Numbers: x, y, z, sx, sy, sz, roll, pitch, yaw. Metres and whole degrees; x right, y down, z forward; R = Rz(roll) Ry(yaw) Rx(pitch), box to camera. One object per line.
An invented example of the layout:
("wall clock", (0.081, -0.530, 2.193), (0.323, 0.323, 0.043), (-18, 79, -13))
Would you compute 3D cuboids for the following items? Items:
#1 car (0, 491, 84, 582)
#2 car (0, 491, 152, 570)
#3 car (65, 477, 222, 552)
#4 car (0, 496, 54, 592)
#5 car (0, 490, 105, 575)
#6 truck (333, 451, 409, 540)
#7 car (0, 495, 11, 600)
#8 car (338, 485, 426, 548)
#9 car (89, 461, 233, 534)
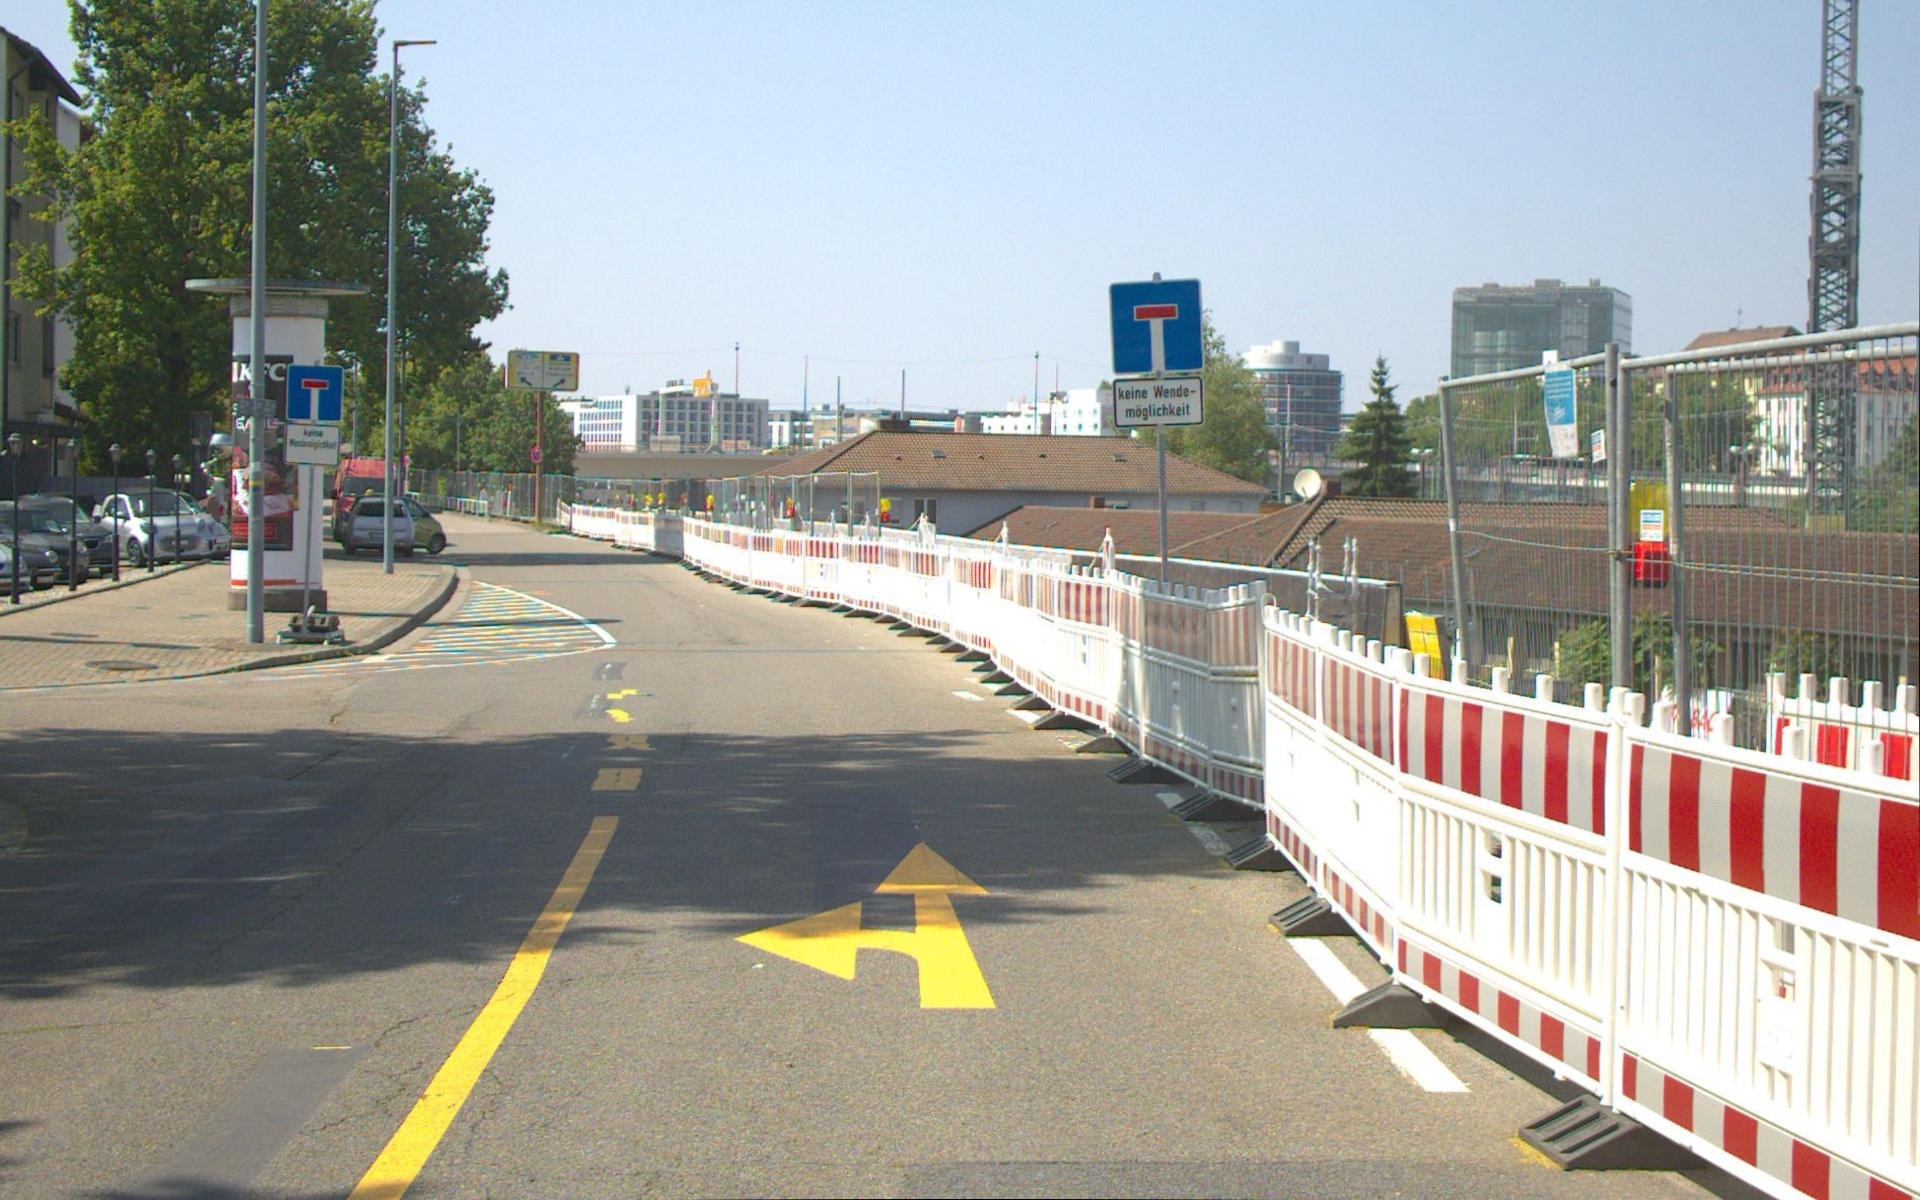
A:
("car", (-16.702, -1.091, 59.104), (1.667, 1.468, 3.999), (-4, 3, -38))
("car", (-17.601, -1.381, 68.112), (1.667, 1.468, 3.999), (-4, 3, -35))
("car", (-17.061, -1.779, 71.706), (1.776, 1.468, 4.000), (-3, 3, -35))
("car", (-16.030, -0.880, 54.954), (1.780, 1.468, 4.000), (-4, 3, -33))
("car", (-17.363, -1.248, 63.503), (1.667, 1.468, 4.000), (-3, 3, -35))
("truck", (-18.242, -3.215, 106.678), (2.237, 2.639, 5.683), (0, 1, -9))
("car", (-15.172, -0.743, 49.575), (1.836, 1.468, 4.000), (-3, 3, -30))
("car", (-14.691, -2.148, 87.549), (1.869, 1.493, 4.033), (0, 3, -4))
("car", (-22.889, -2.941, 98.496), (3.921, 1.952, 1.760), (1, 1, -15))
